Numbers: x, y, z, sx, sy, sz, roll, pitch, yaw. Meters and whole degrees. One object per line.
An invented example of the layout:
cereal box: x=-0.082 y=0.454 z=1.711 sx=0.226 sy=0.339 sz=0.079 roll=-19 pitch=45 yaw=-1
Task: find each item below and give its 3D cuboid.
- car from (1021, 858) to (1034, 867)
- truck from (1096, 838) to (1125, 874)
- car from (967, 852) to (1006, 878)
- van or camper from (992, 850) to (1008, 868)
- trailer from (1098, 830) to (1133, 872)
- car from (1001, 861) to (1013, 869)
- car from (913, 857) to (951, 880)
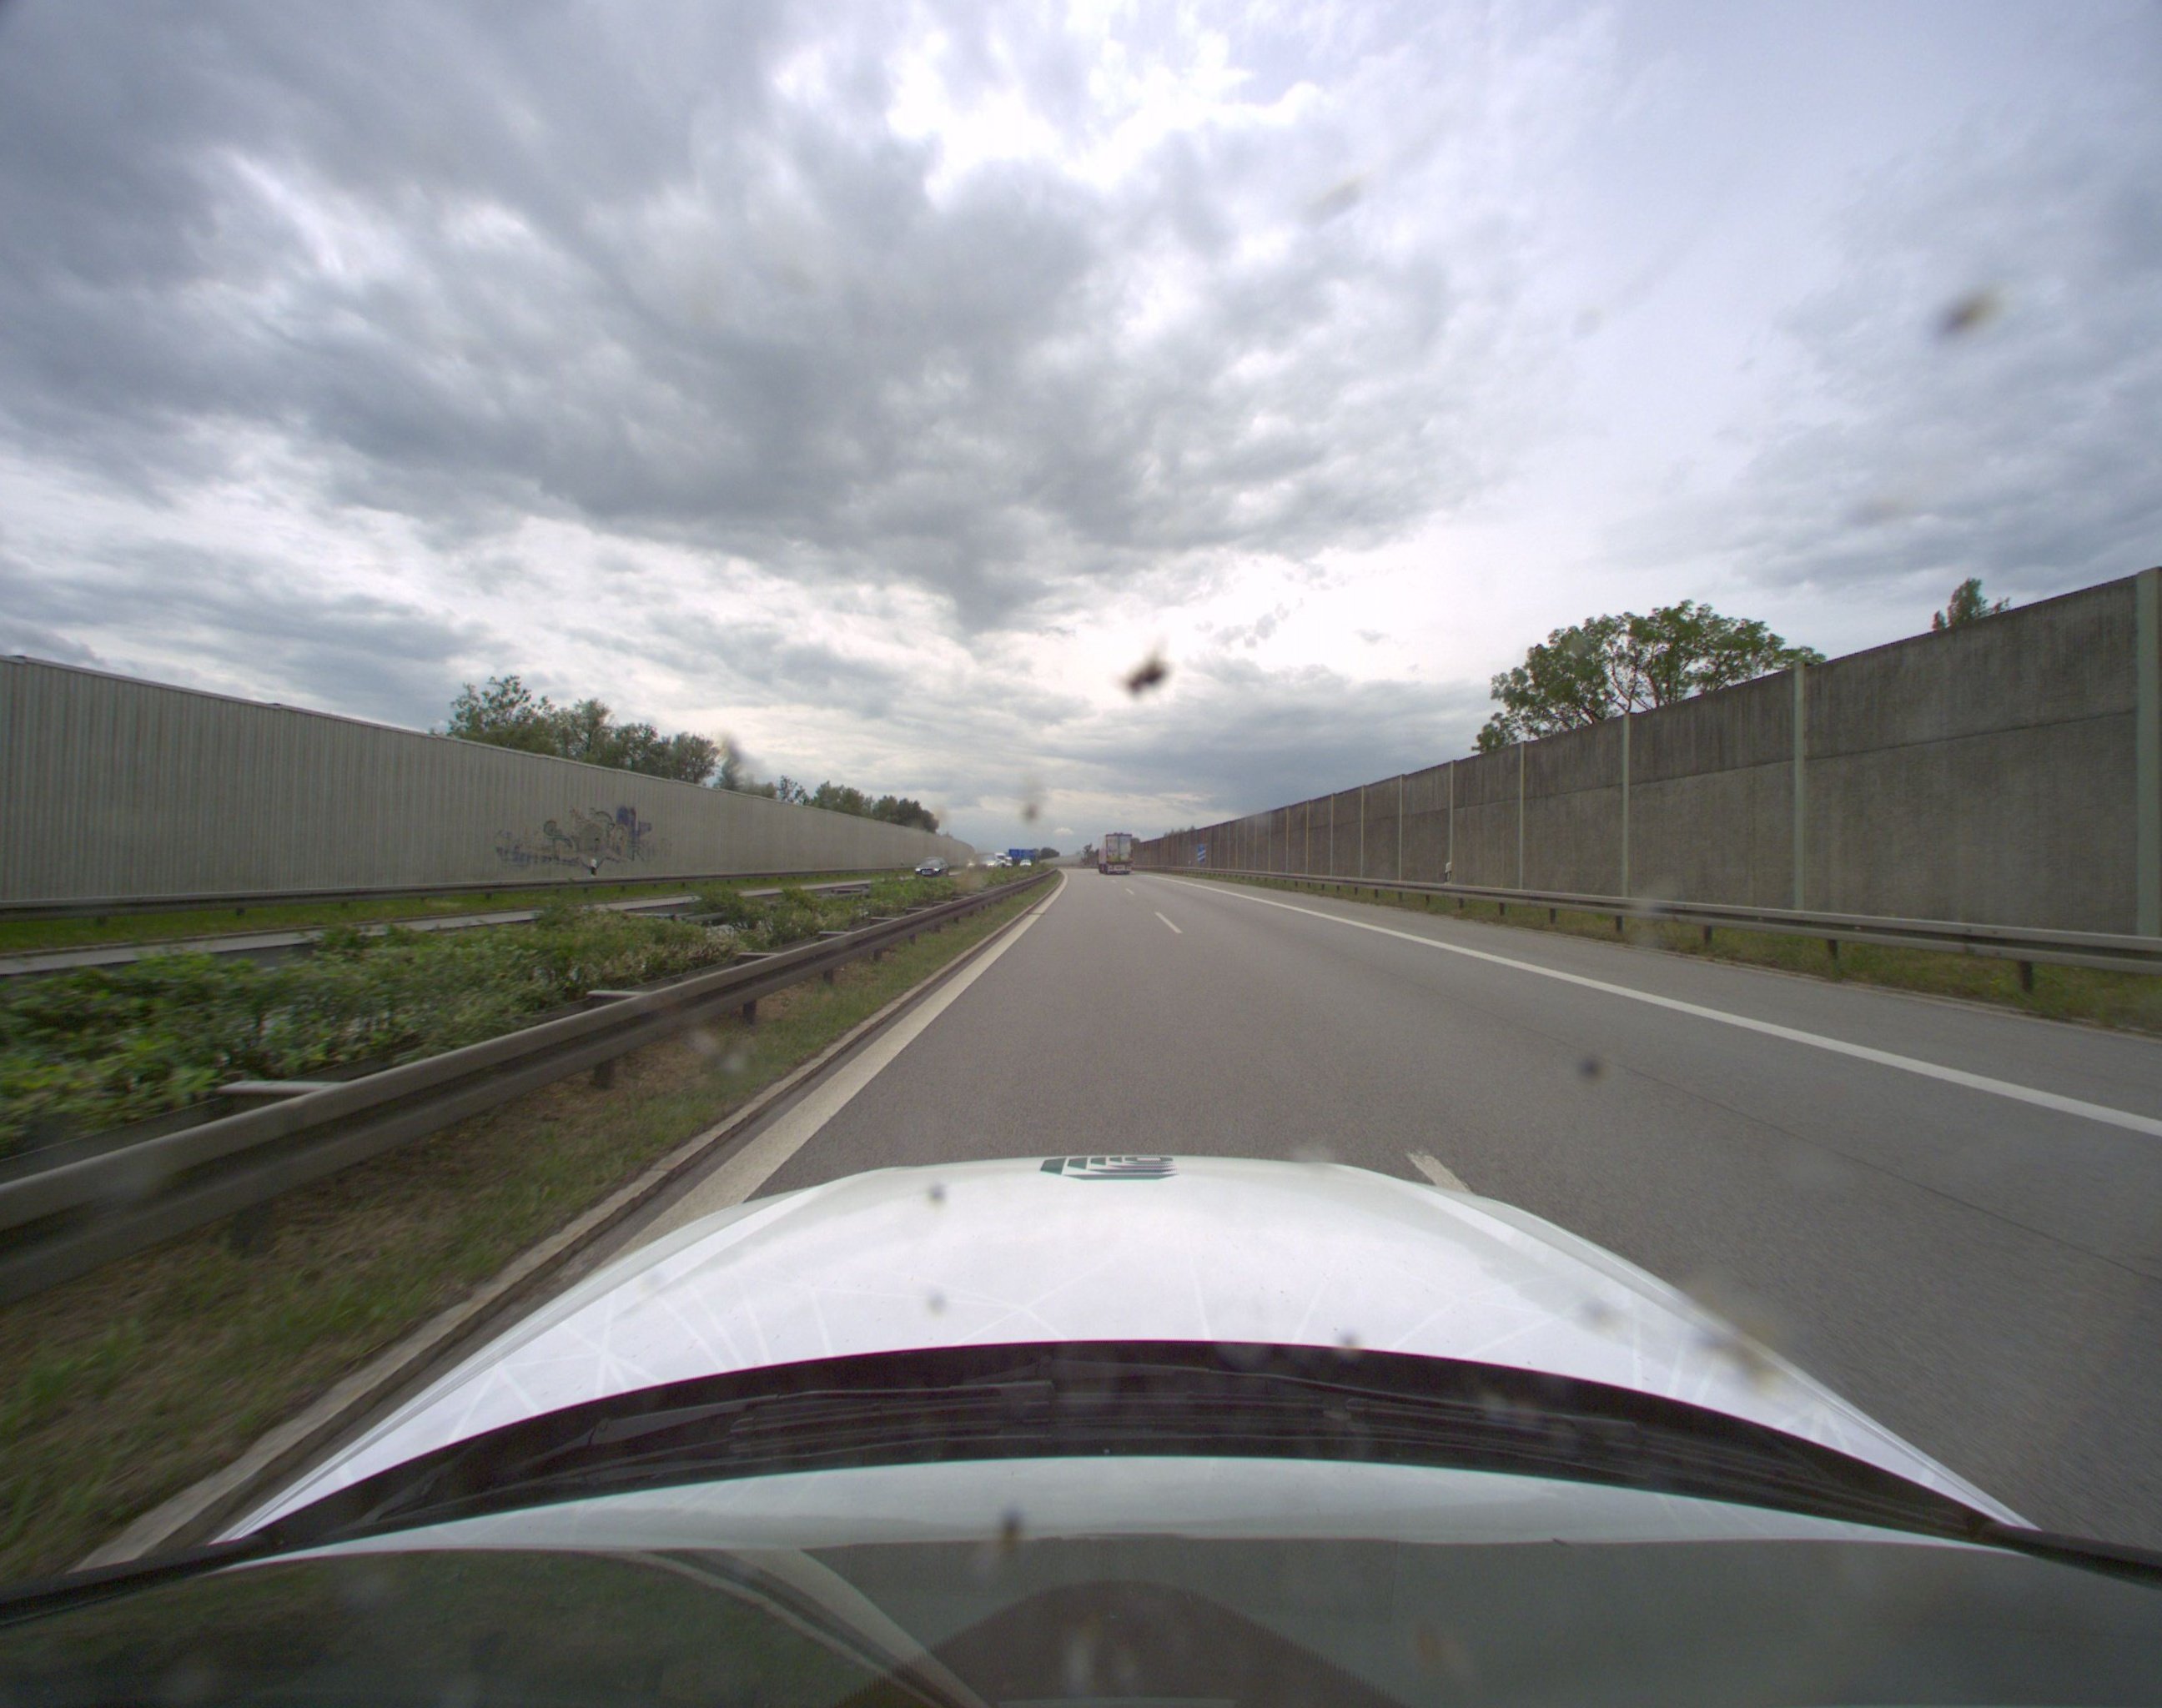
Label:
car: x=-8.475 y=1.380 z=129.497 sx=1.800 sy=1.414 sz=4.966 roll=0 pitch=0 yaw=0
truck: x=3.319 y=0.213 z=93.074 sx=2.750 sy=3.960 sz=5.670 roll=-1 pitch=-1 yaw=-3
car: x=-6.270 y=0.720 z=54.522 sx=1.957 sy=1.670 sz=4.924 roll=0 pitch=0 yaw=1
van or camper: x=-11.789 y=0.702 z=118.585 sx=1.989 sy=2.441 sz=6.302 roll=-1 pitch=0 yaw=-3
trailer: x=3.501 y=-0.181 z=86.945 sx=2.785 sy=4.175 sz=14.093 roll=-1 pitch=-1 yaw=-1
car: x=-13.891 y=2.073 z=152.559 sx=1.859 sy=1.403 sz=4.496 roll=-1 pitch=0 yaw=-2
car: x=-10.071 y=0.959 z=55.249 sx=1.716 sy=1.417 sz=4.554 roll=-1 pitch=0 yaw=0
